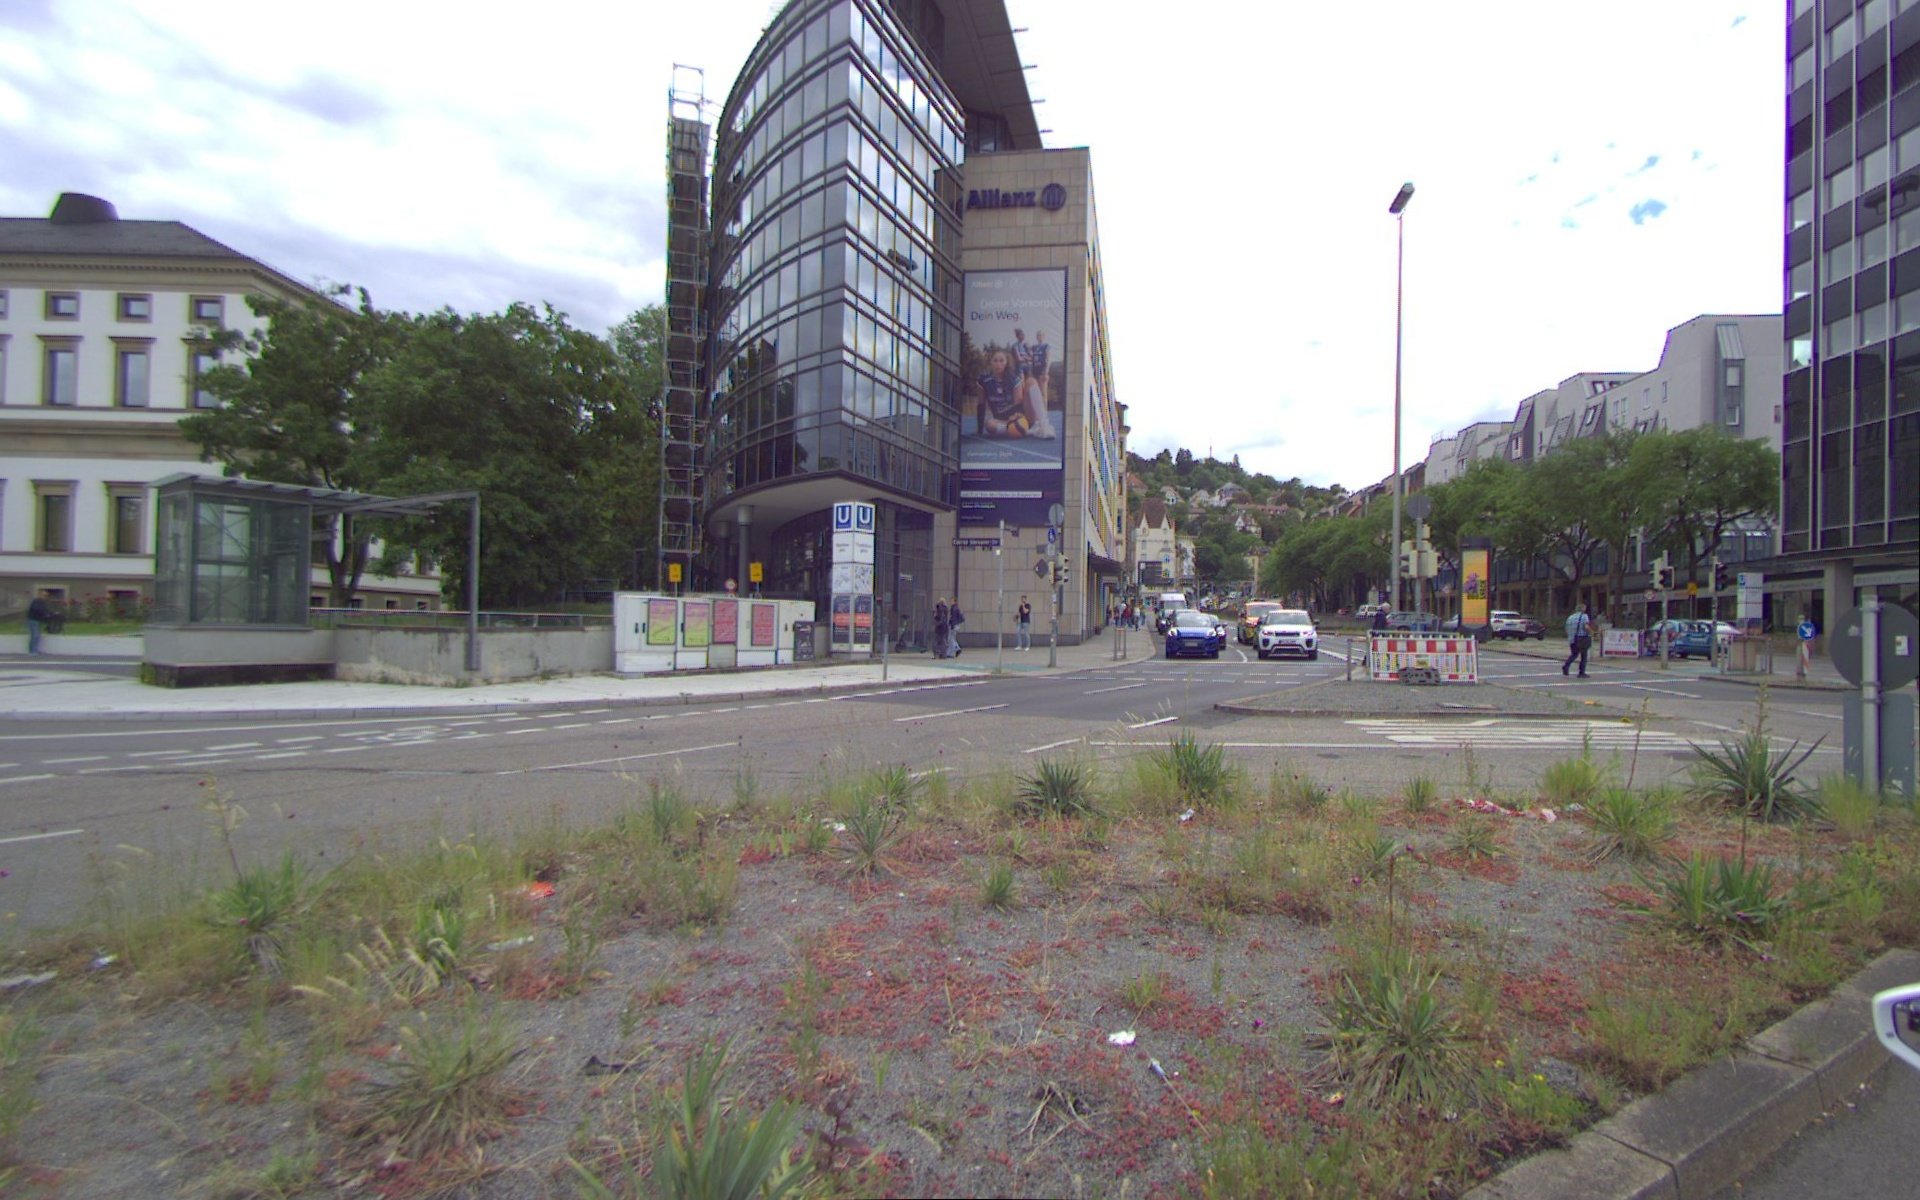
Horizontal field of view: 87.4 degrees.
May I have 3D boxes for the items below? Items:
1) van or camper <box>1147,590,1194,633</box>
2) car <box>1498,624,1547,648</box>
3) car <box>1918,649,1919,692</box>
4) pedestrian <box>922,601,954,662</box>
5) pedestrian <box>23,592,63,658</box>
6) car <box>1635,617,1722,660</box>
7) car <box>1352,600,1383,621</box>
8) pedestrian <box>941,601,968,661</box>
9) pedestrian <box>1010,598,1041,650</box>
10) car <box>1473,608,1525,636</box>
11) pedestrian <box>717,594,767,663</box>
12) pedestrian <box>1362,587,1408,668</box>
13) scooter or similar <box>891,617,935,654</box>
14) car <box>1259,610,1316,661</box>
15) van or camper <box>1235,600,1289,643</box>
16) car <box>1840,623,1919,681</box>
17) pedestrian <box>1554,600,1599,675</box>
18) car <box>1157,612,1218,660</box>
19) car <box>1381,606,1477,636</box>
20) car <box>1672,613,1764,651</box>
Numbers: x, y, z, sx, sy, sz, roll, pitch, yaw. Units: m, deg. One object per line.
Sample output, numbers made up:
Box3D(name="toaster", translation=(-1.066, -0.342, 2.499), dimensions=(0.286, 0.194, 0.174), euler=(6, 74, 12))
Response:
Box3D(name="van or camper", translation=(14.414, 0.750, 69.275), dimensions=(2.950, 2.762, 6.249), euler=(1, 0, 10))
Box3D(name="car", translation=(35.304, 2.236, 63.090), dimensions=(1.801, 1.381, 3.769), euler=(0, 0, 15))
Box3D(name="car", translation=(20.289, 1.293, 19.374), dimensions=(1.808, 1.414, 4.136), euler=(2, 2, 33))
Box3D(name="pedestrian", translation=(-0.621, 0.888, 28.784), dimensions=(0.754, 1.723, 0.632), euler=(1, 0, 15))
Box3D(name="pedestrian", translation=(-25.852, 0.686, 28.314), dimensions=(0.583, 1.838, 0.604), euler=(0, 0, 14))
Box3D(name="car", translation=(27.673, 1.430, 38.789), dimensions=(1.802, 1.538, 3.766), euler=(0, 0, 21))
Box3D(name="car", translation=(38.322, 1.000, 94.524), dimensions=(1.801, 1.899, 4.873), euler=(0, 0, 12))
Box3D(name="pedestrian", translation=(-0.155, 0.898, 29.622), dimensions=(0.631, 1.723, 0.632), euler=(1, 0, 15))
Box3D(name="pedestrian", translation=(2.307, 0.851, 35.543), dimensions=(0.917, 1.834, 0.694), euler=(1, 0, -15))
Box3D(name="car", translation=(31.599, 1.273, 58.984), dimensions=(1.801, 1.587, 3.769), euler=(0, 0, 14))
Box3D(name="pedestrian", translation=(-5.315, 0.698, 24.542), dimensions=(0.643, 1.634, 0.963), euler=(1, -2, 33))
Box3D(name="pedestrian", translation=(11.697, 0.759, 27.666), dimensions=(0.863, 2.201, 0.762), euler=(1, 0, -8))
Box3D(name="scooter or similar", translation=(-1.574, 1.186, 33.864), dimensions=(1.365, 1.224, 0.531), euler=(1, 0, -21))
Box3D(name="car", translation=(11.121, 1.159, 34.231), dimensions=(1.705, 1.620, 4.320), euler=(1, 0, 17))
Box3D(name="van or camper", translation=(14.300, 0.998, 47.856), dimensions=(1.880, 1.947, 5.087), euler=(0, 0, 10))
Box3D(name="car", translation=(28.272, 1.530, 29.783), dimensions=(1.803, 1.451, 4.147), euler=(2, 1, 20))
Box3D(name="pedestrian", translation=(15.363, 0.934, 25.039), dimensions=(0.703, 1.814, 0.635), euler=(-2, 1, 10))
Box3D(name="car", translation=(7.999, 1.228, 35.502), dimensions=(1.959, 1.545, 4.094), euler=(1, 0, 12))
Box3D(name="car", translation=(25.143, 1.125, 54.029), dimensions=(4.475, 1.478, 1.881), euler=(1, 0, 19))
Box3D(name="car", translation=(32.428, 1.341, 43.086), dimensions=(1.801, 1.538, 3.769), euler=(0, 0, 14))
